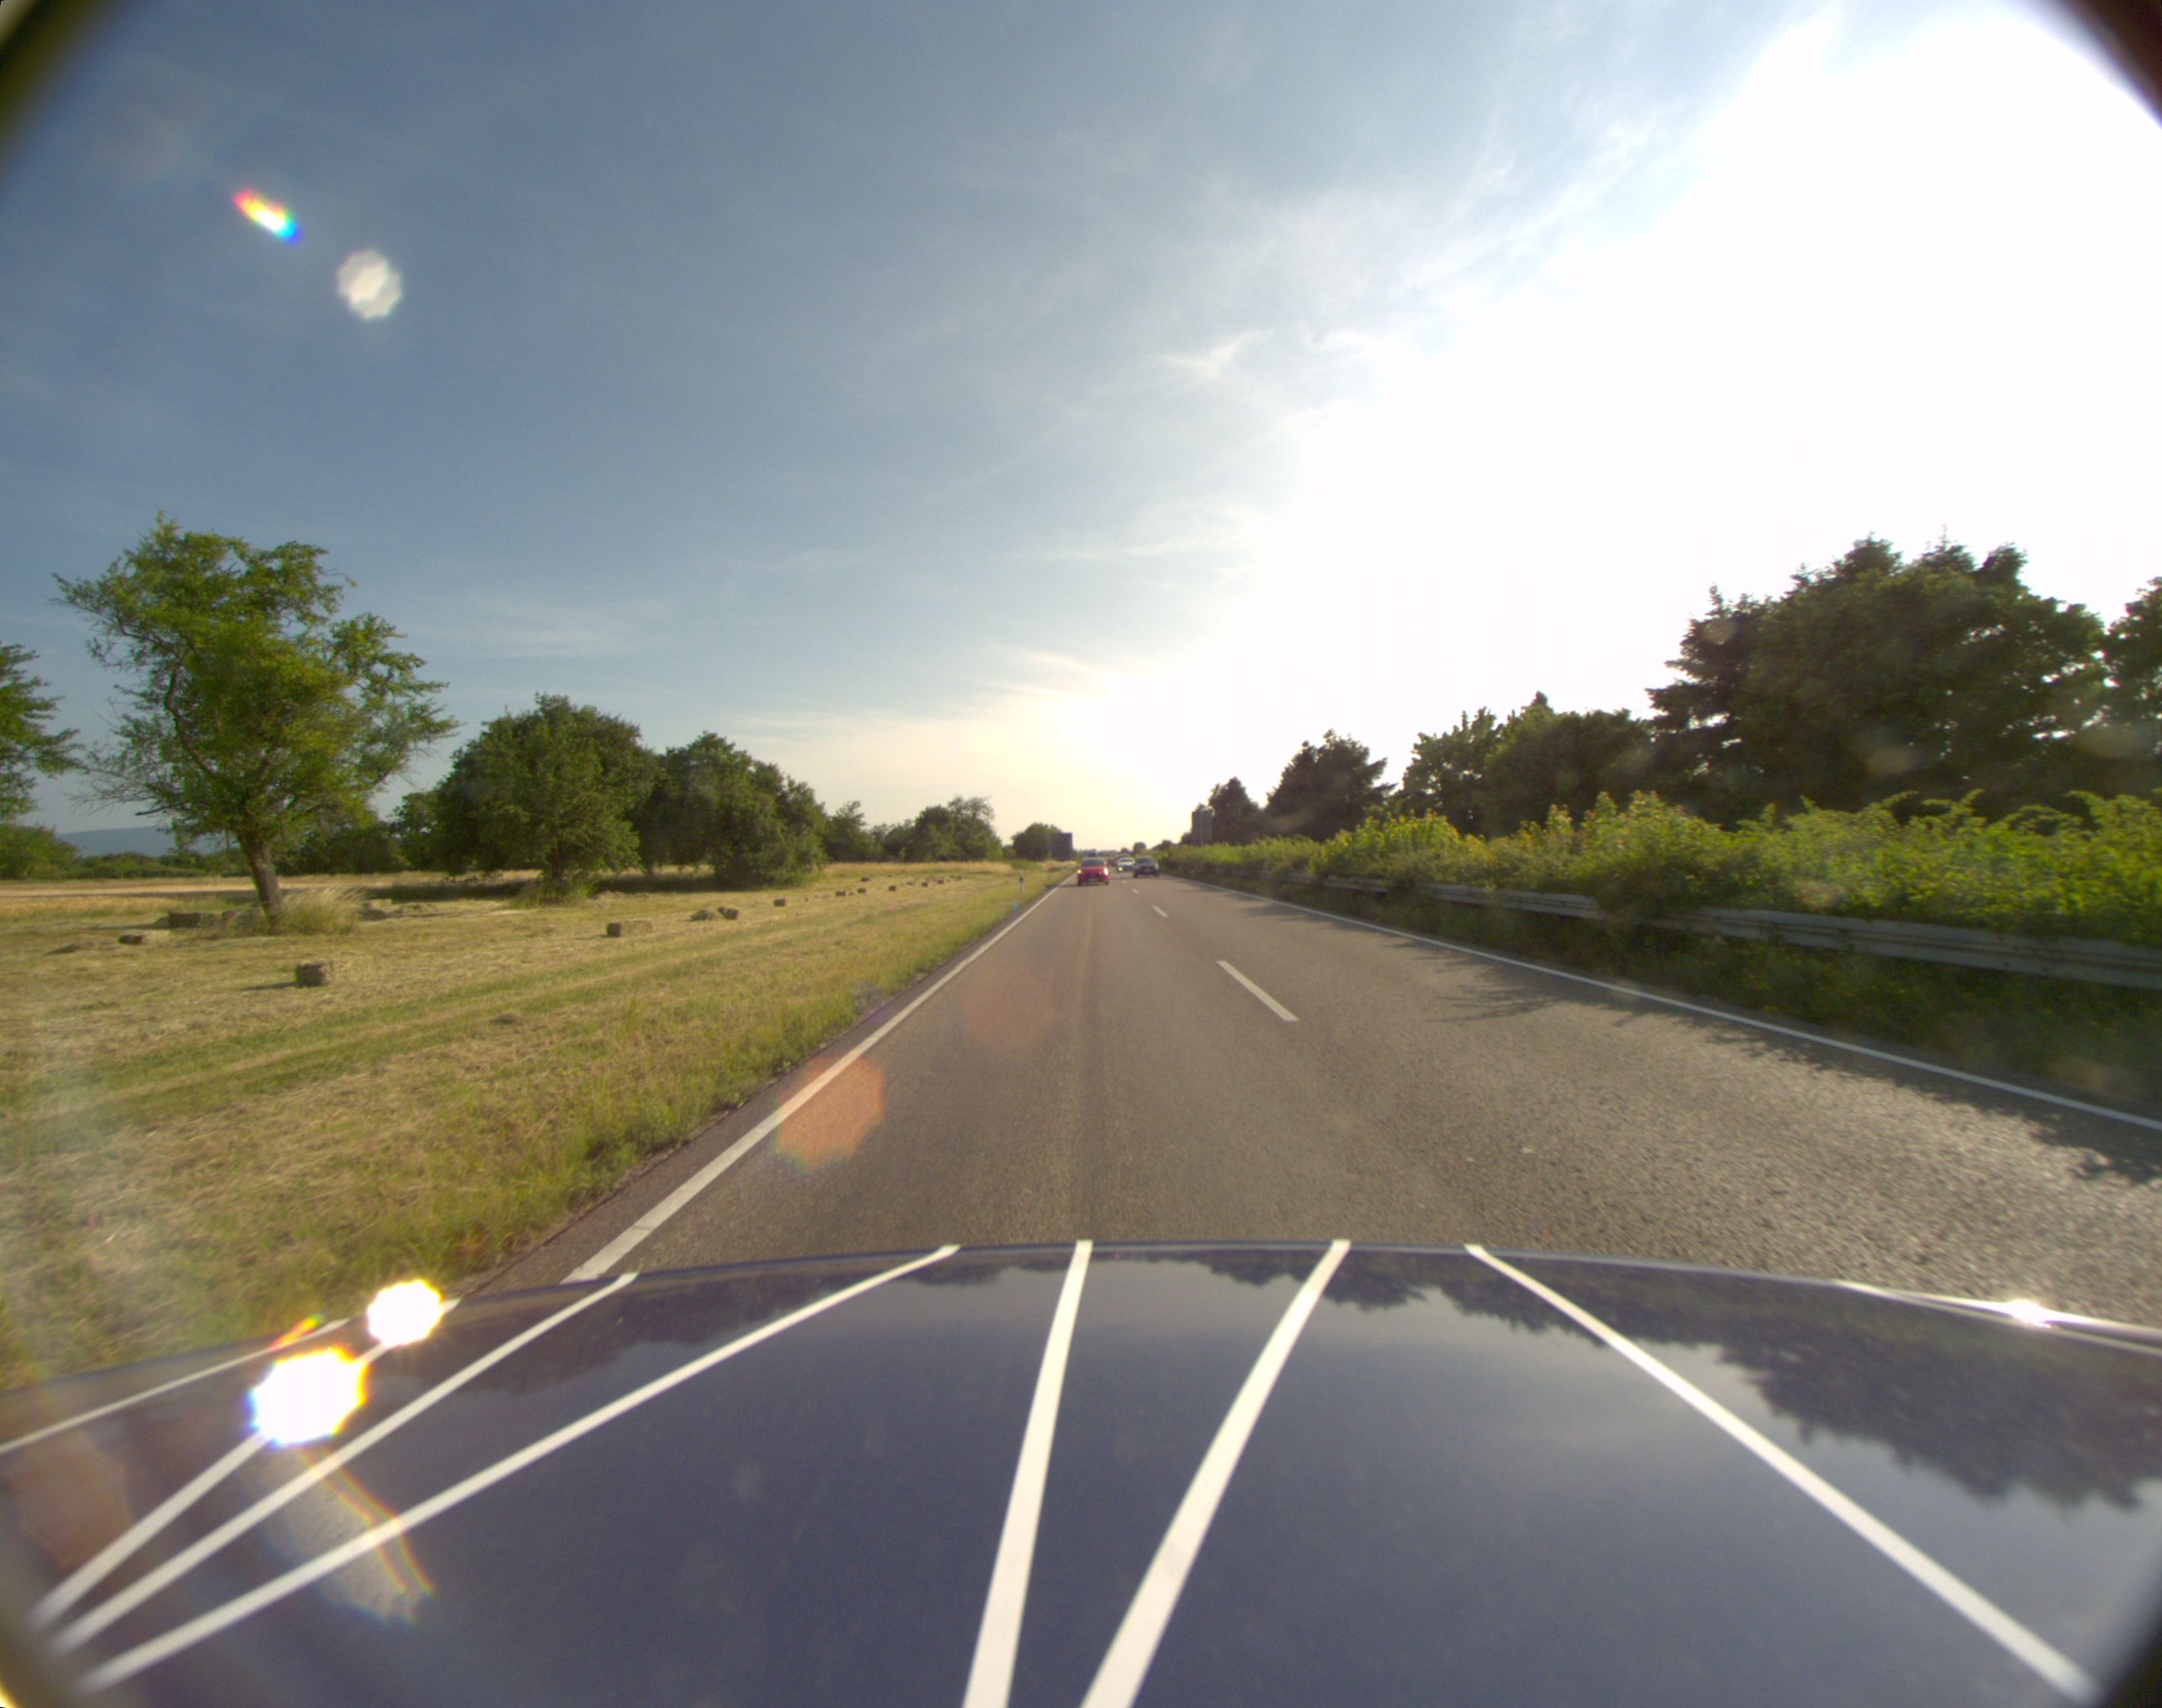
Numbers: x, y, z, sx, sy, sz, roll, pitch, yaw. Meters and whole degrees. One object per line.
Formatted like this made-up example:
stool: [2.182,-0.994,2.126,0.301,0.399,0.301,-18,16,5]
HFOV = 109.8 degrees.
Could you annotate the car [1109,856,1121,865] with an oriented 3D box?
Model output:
car: [5.996,1.097,132.354,1.998,1.412,4.001,-2,0,2]

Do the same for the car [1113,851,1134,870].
car: [4.283,0.669,77.601,1.998,1.762,4.001,-2,0,2]

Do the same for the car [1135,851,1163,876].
car: [4.780,0.647,53.933,1.693,1.695,4.000,-2,0,2]

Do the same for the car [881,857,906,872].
car: [-23.884,1.329,96.835,1.998,1.739,4.000,-2,0,1]

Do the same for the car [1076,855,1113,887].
car: [0.781,0.849,40.778,1.821,1.565,4.001,-2,0,2]
